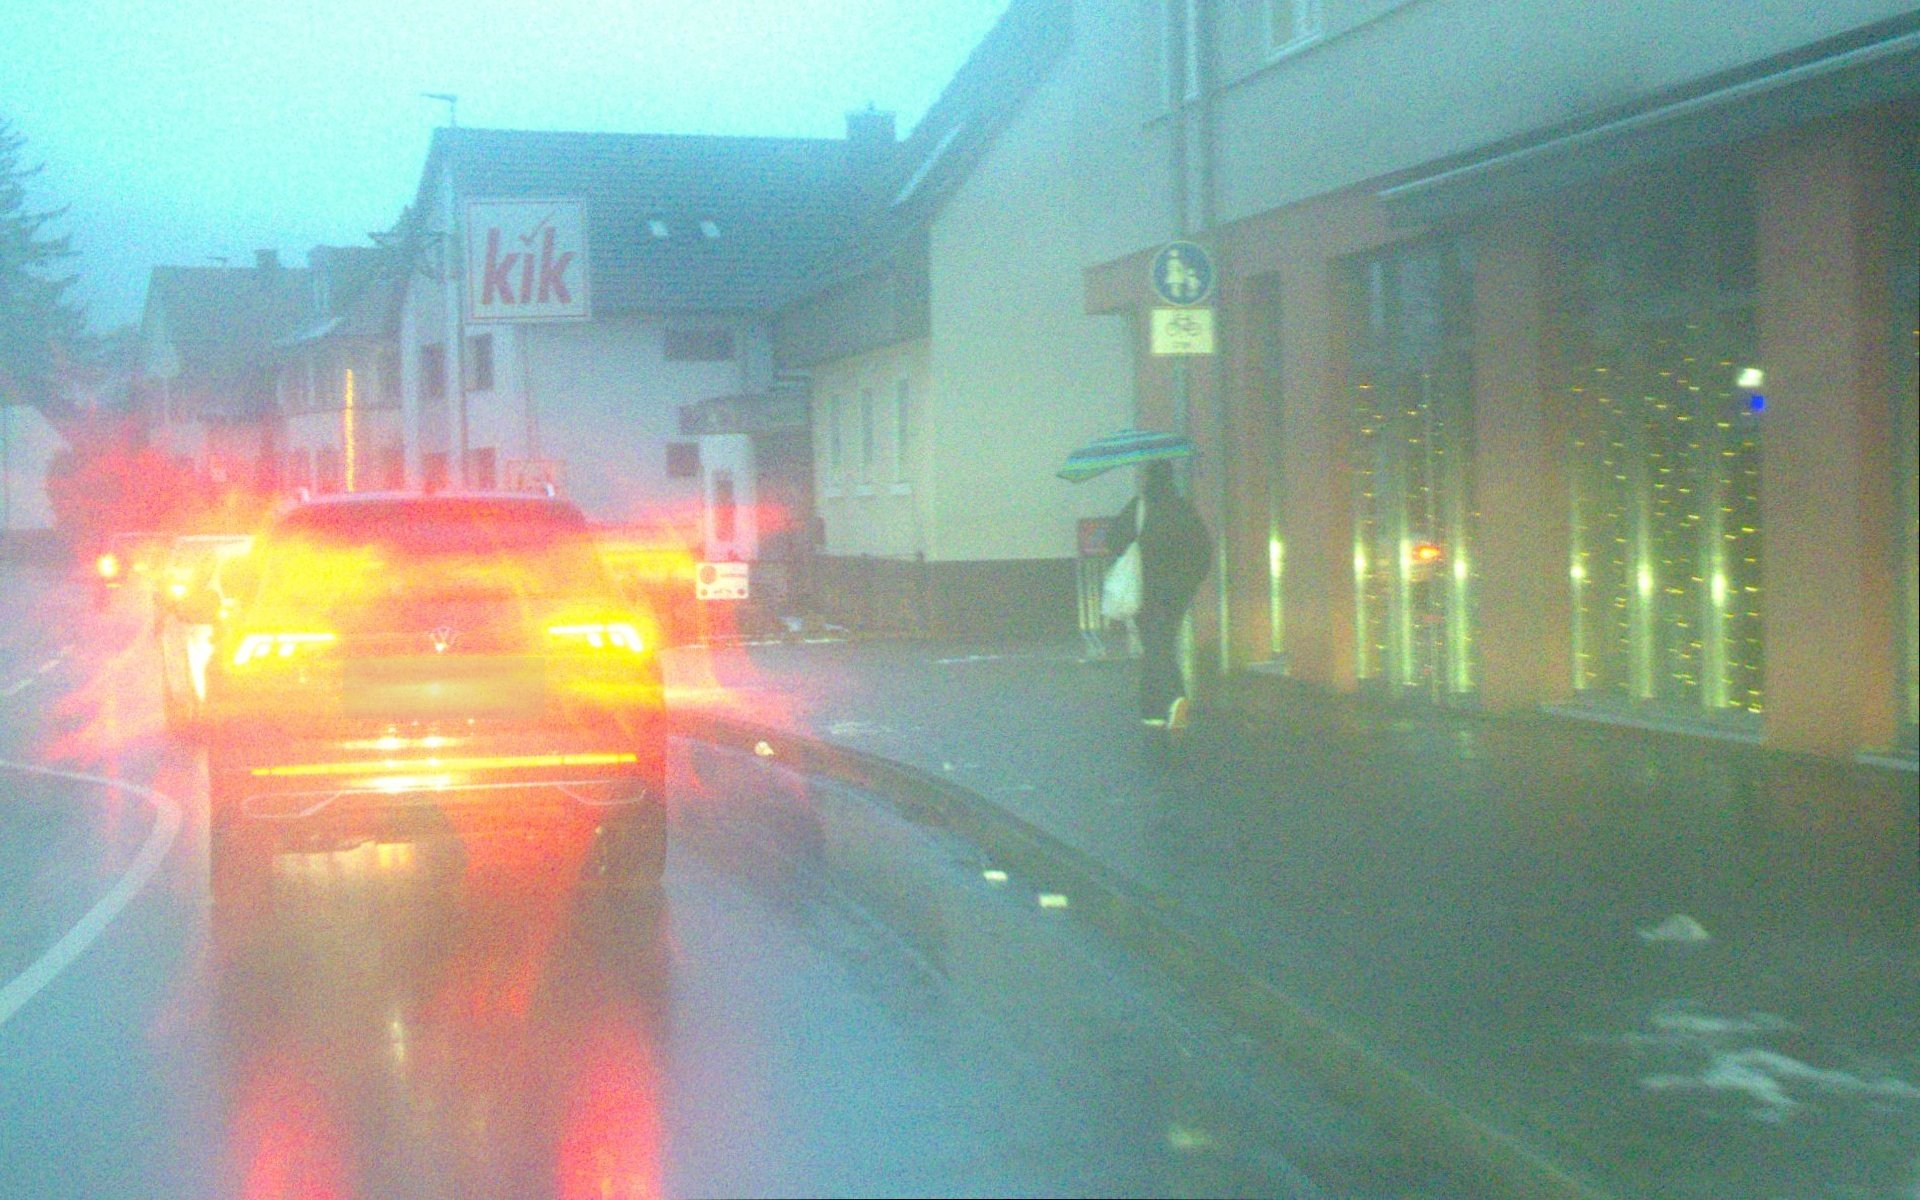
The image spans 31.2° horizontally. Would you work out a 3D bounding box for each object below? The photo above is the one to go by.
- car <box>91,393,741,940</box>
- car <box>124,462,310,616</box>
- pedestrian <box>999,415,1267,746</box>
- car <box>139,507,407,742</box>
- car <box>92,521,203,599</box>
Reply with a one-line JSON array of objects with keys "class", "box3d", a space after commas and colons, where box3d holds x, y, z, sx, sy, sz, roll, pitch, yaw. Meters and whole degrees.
[{"class": "car", "box3d": [-2.460, 0.181, 15.156, 2.309, 1.932, 5.020, -2, 1, -11]}, {"class": "car", "box3d": [-10.226, -0.846, 47.333, 2.309, 1.932, 5.020, -2, 1, -12]}, {"class": "pedestrian", "box3d": [1.022, -0.133, 20.670, 1.254, 1.859, 1.304, -3, 2, -10]}, {"class": "car", "box3d": [-5.321, 0.116, 26.555, 1.857, 1.641, 4.001, -1, 2, -12]}, {"class": "car", "box3d": [-15.191, -0.774, 64.151, 1.842, 1.327, 3.939, -2, 2, -15]}]
